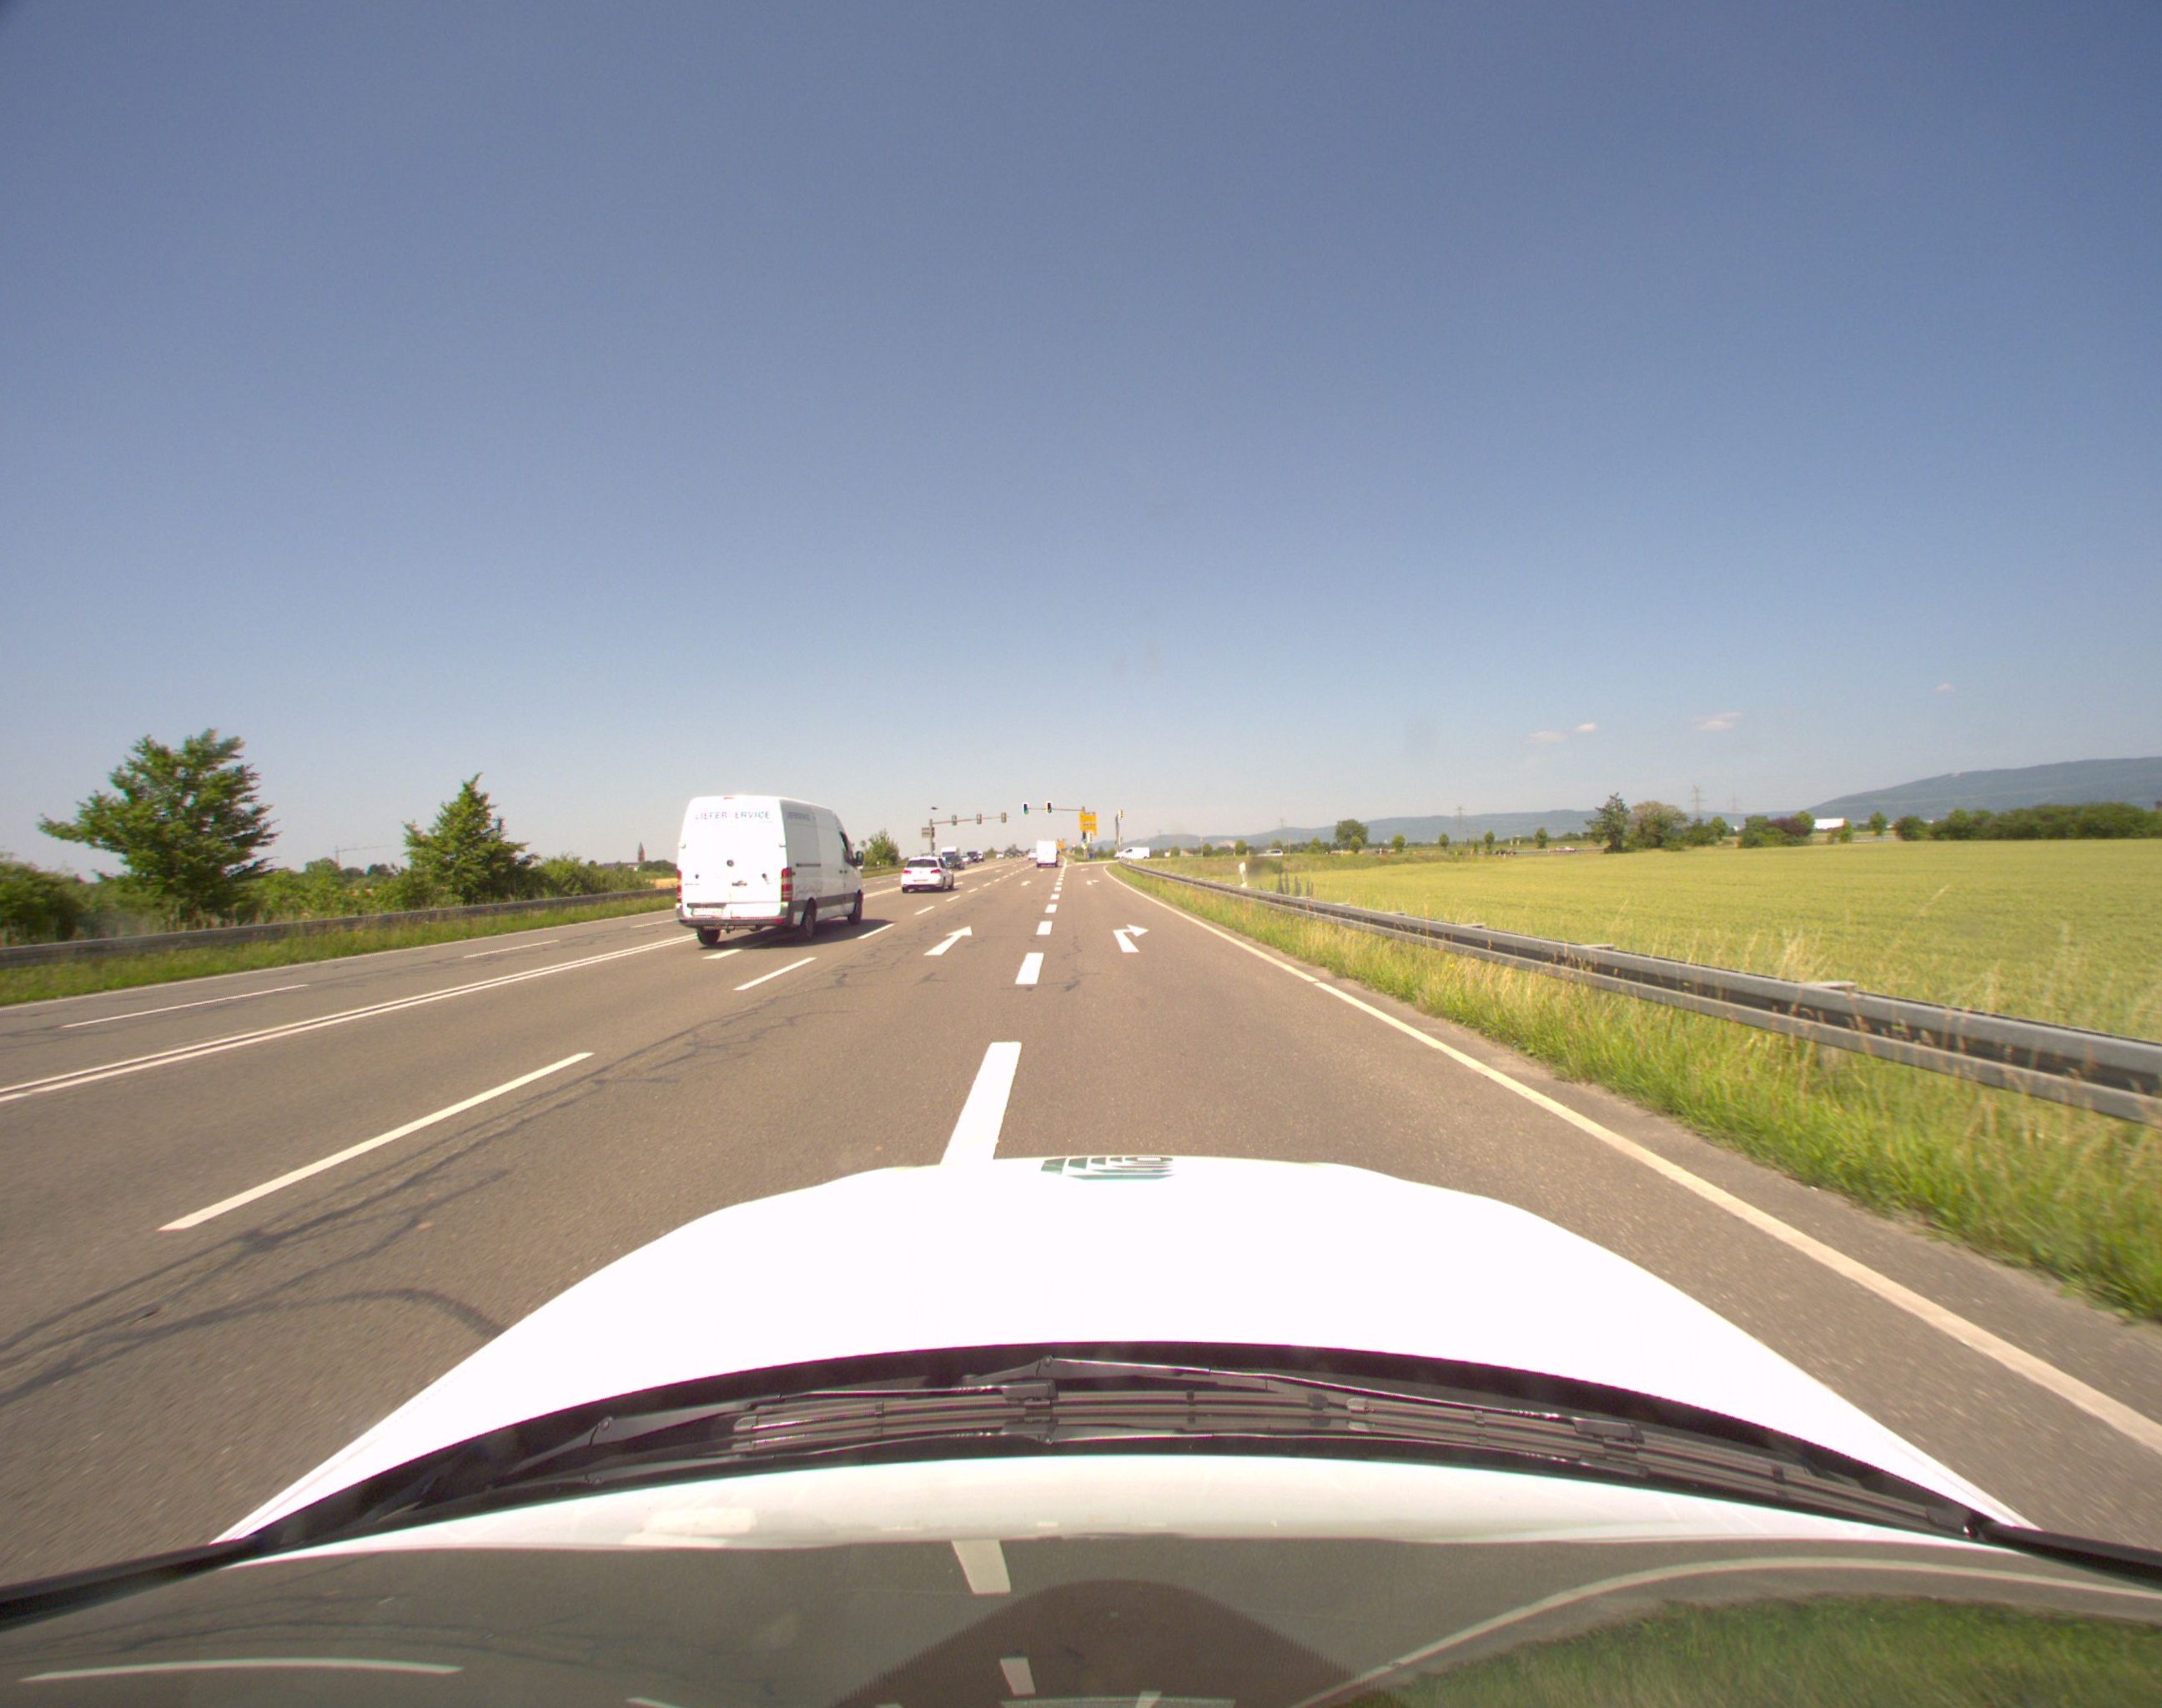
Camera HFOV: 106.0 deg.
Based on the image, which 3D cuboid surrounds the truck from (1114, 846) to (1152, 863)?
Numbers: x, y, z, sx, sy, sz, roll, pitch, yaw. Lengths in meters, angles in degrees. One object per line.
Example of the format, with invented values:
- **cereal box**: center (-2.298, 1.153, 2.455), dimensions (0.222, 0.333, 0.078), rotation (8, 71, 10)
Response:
- **truck**: center (7.148, 0.070, 112.843), dimensions (4.854, 2.320, 1.989), rotation (0, -1, -16)

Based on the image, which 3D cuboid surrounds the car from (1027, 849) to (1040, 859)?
- **car**: center (-8.076, -0.017, 137.542), dimensions (1.988, 1.703, 4.273), rotation (0, -1, -1)

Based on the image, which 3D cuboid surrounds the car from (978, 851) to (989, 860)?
- **car**: center (-17.540, 0.346, 146.488), dimensions (1.597, 1.582, 3.332), rotation (-1, -1, 0)

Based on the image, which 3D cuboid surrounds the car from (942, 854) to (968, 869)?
- **car**: center (-12.208, 0.758, 79.138), dimensions (1.851, 1.423, 3.999), rotation (-1, -1, 0)

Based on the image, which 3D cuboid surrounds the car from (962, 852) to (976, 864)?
- **car**: center (-18.142, 0.601, 132.239), dimensions (1.867, 1.887, 3.332), rotation (-1, -1, 0)

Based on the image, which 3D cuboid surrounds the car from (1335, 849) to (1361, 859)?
- **car**: center (40.302, 0.039, 122.881), dimensions (3.490, 1.486, 1.636), rotation (0, -1, -25)

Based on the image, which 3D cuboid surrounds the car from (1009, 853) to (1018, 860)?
- **car**: center (-15.278, 0.485, 184.803), dimensions (1.628, 1.486, 4.002), rotation (0, -1, 2)

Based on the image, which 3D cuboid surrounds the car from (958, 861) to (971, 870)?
- **car**: center (-17.036, 1.674, 119.038), dimensions (1.458, 1.274, 3.332), rotation (-1, -1, 0)

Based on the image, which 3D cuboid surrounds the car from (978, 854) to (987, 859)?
- **car**: center (-22.665, 0.584, 187.343), dimensions (1.458, 1.274, 3.332), rotation (-1, -1, 0)

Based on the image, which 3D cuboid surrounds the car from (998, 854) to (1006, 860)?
- **car**: center (-18.945, 0.705, 194.638), dimensions (1.458, 1.274, 3.332), rotation (-1, -1, 0)

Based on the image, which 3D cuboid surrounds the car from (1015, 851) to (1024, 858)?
- **car**: center (-16.381, 0.102, 218.227), dimensions (1.985, 1.618, 4.002), rotation (0, -1, 3)

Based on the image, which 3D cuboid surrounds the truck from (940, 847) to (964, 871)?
- **truck**: center (-16.519, 0.720, 104.499), dimensions (2.289, 2.957, 5.282), rotation (-1, -1, 0)

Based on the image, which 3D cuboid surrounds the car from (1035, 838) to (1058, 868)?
- **car**: center (-3.269, -0.069, 77.949), dimensions (1.988, 2.695, 4.966), rotation (-1, 0, -1)

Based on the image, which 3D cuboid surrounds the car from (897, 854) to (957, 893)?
- **car**: center (-6.482, 0.788, 34.649), dimensions (1.794, 1.508, 4.193), rotation (-1, 0, -1)

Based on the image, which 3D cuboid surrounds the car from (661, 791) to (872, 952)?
- **car**: center (-5.944, 0.280, 16.370), dimensions (2.033, 2.620, 5.738), rotation (-1, 0, -1)
